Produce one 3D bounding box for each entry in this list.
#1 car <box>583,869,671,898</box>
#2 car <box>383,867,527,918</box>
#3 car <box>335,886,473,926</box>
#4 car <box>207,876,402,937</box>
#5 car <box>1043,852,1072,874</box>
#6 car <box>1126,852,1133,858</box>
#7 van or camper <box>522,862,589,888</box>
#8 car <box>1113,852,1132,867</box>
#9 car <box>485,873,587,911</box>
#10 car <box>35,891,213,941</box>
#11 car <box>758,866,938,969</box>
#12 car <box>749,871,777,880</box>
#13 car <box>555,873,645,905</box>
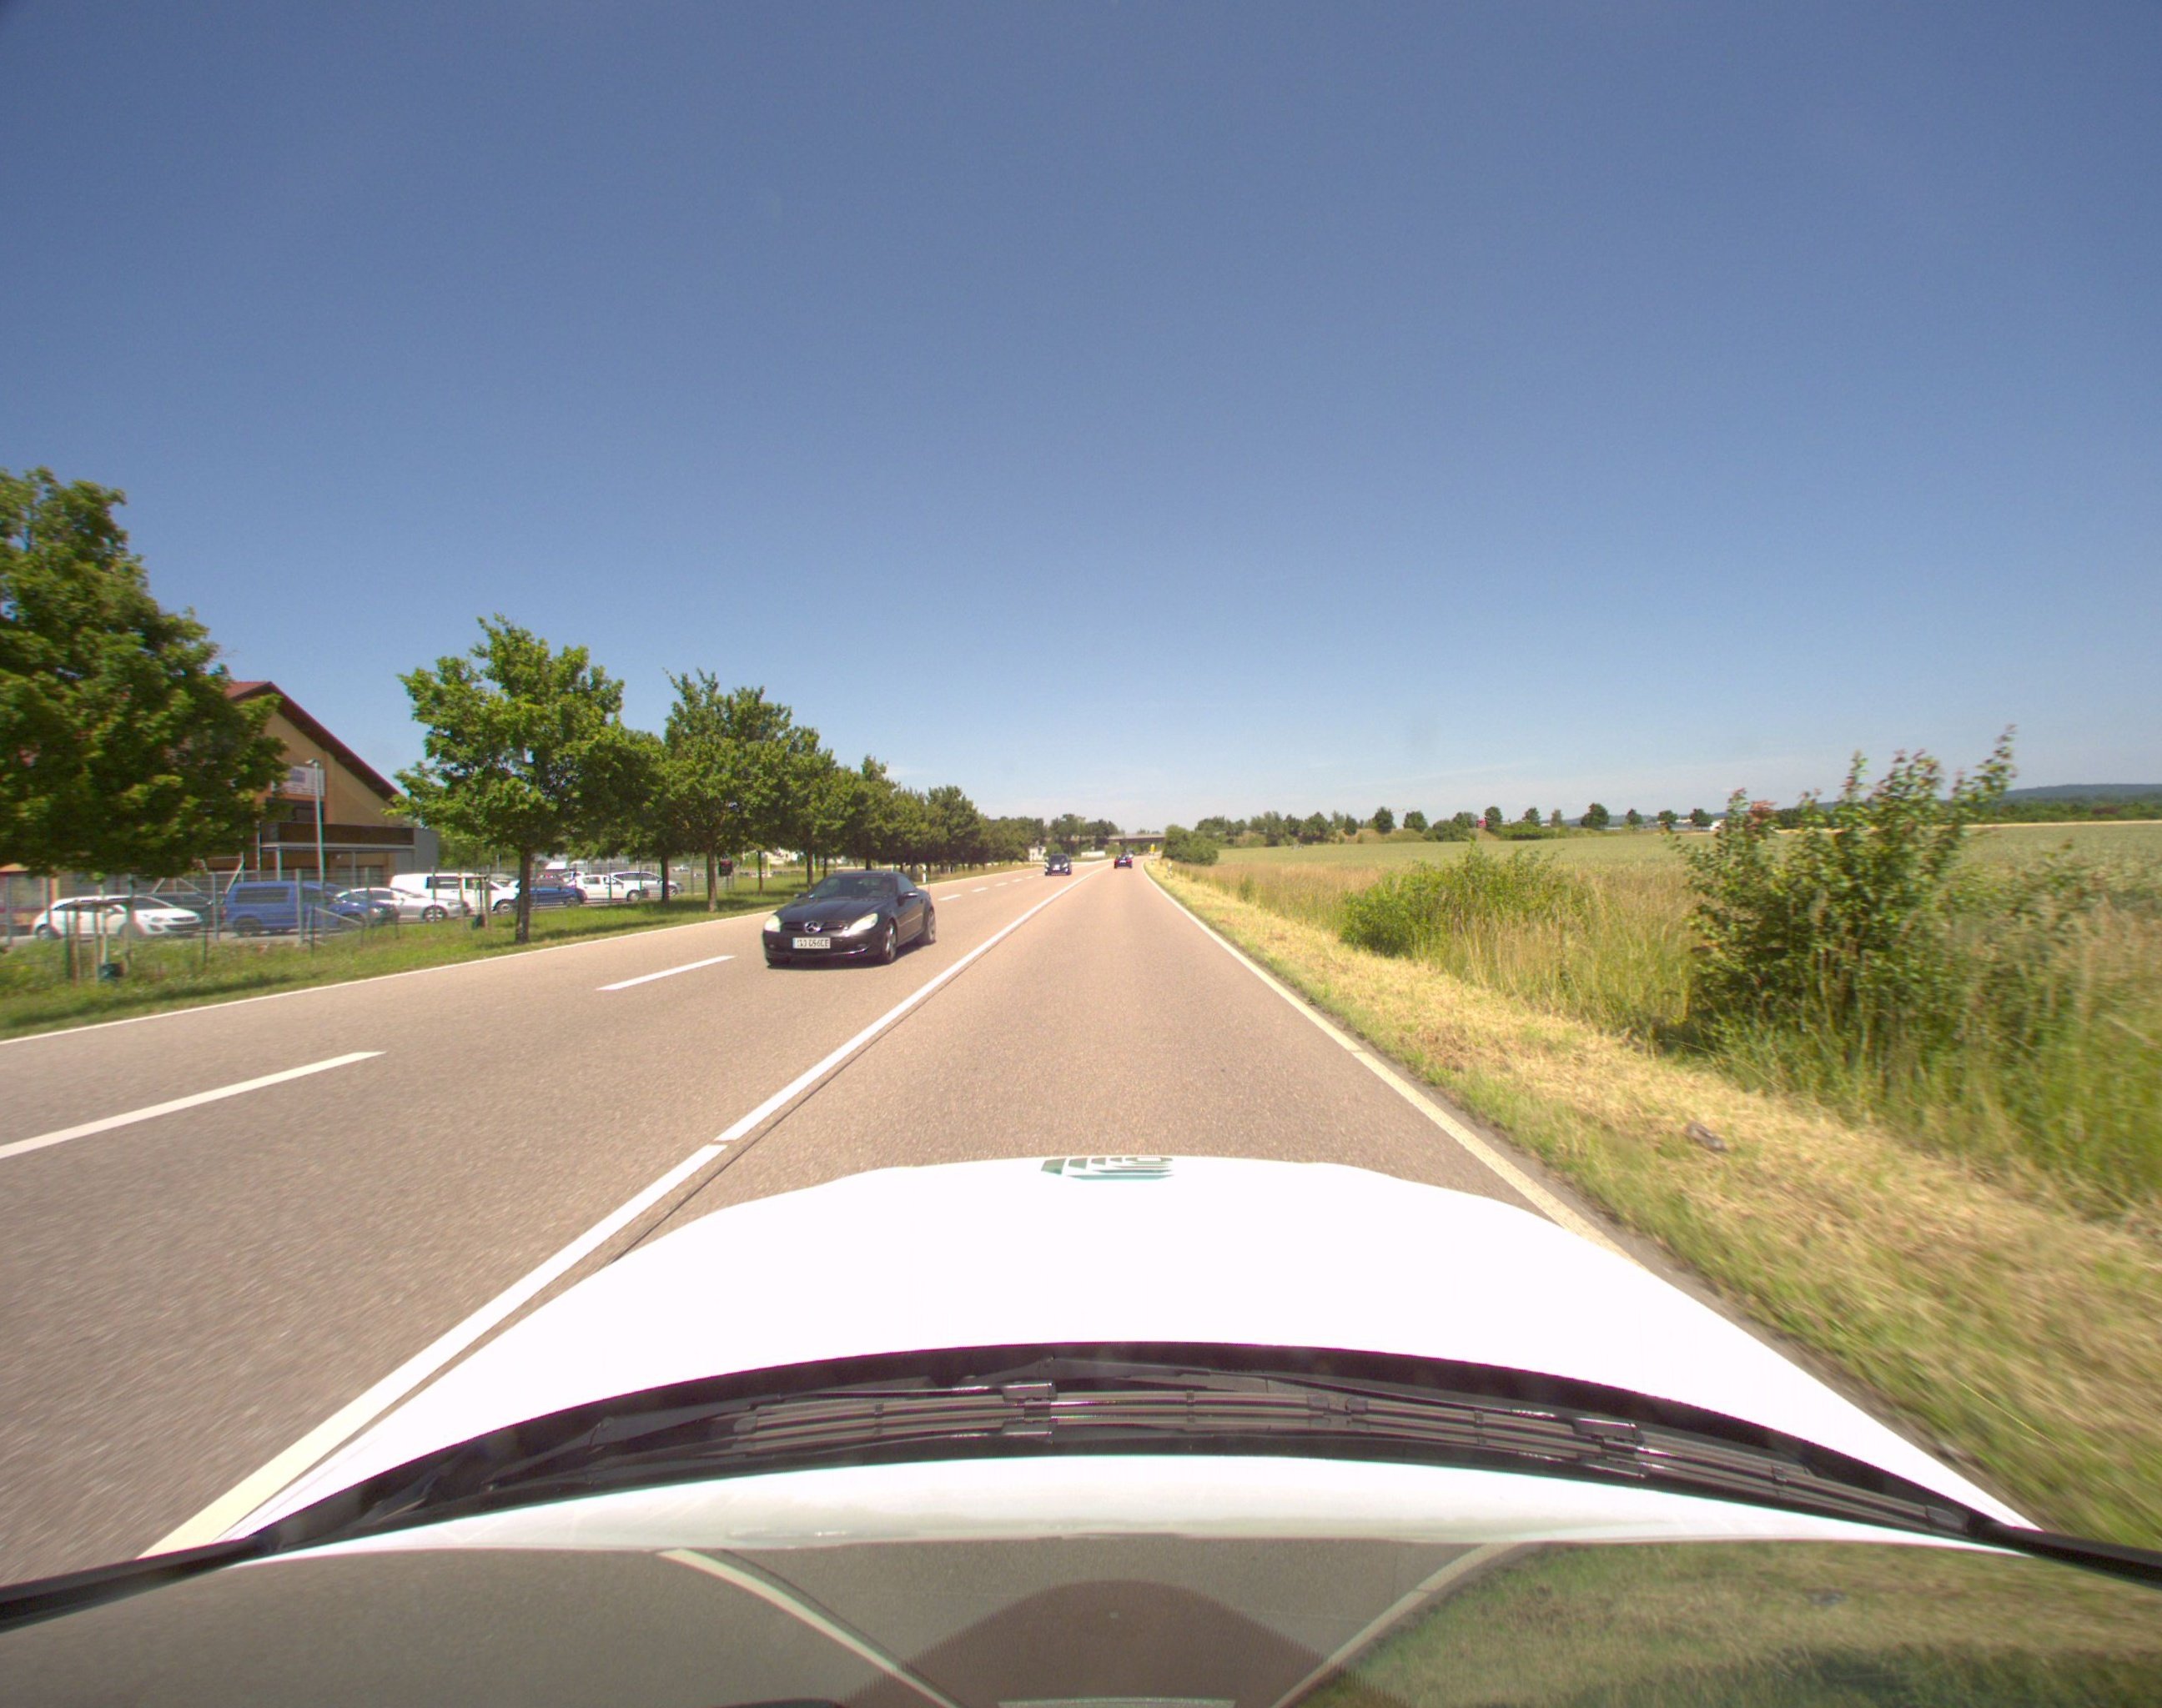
[{"bbox_3d":[-26.685,1.709,47.923,4.363,1.543,1.571,-1,0,-38],"label":"car"},{"bbox_3d":[-26.632,1.594,34.874,4.681,1.954,1.808,-1,0,-31],"label":"car"},{"bbox_3d":[-25.873,1.953,31.279,3.685,1.265,1.802,-1,0,-25],"label":"car"},{"bbox_3d":[-26.213,1.714,27.718,4.308,1.801,2.010,-1,0,-22],"label":"car"},{"bbox_3d":[-1.632,0.634,57.760,1.673,1.499,3.889,-1,0,3],"label":"car"},{"bbox_3d":[12.522,0.193,211.135,1.735,1.411,4.628,0,0,3],"label":"car"},{"bbox_3d":[-51.620,1.988,80.145,2.456,2.363,6.534,-1,-1,-2],"label":"van or camper"},{"bbox_3d":[4.077,0.538,80.268,1.808,1.441,4.001,0,0,1],"label":"car"},{"bbox_3d":[-26.190,1.791,39.249,4.016,1.596,1.979,-1,0,-34],"label":"car"},{"bbox_3d":[-30.933,1.980,26.401,3.676,1.409,1.641,-1,0,-2],"label":"car"},{"bbox_3d":[-3.411,0.872,12.674,1.630,1.268,3.812,-1,0,1],"label":"car"},{"bbox_3d":[-54.334,3.619,139.316,1.974,1.394,4.025,-2,0,30],"label":"car"},{"bbox_3d":[-25.896,1.856,43.882,4.012,1.479,1.654,-1,0,-37],"label":"car"}]
